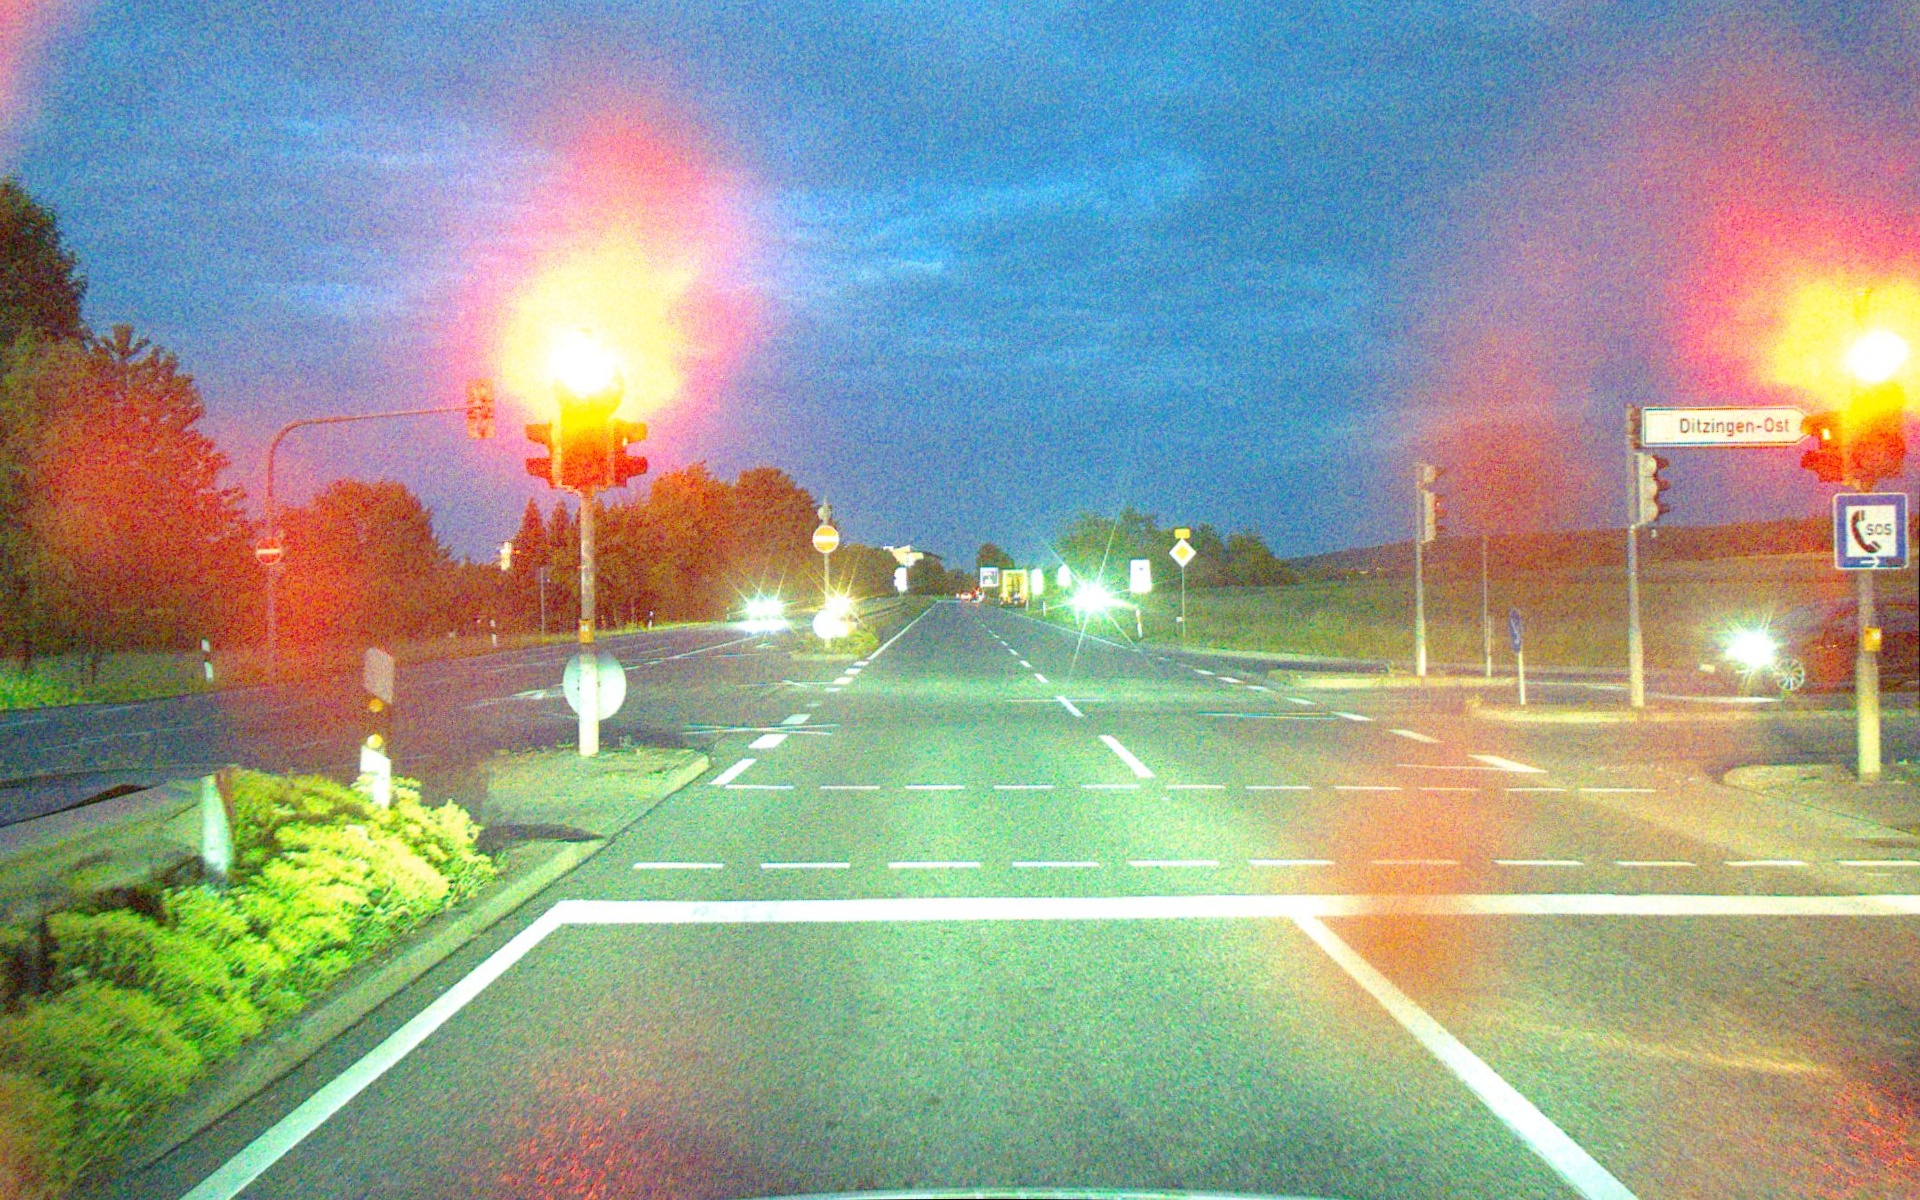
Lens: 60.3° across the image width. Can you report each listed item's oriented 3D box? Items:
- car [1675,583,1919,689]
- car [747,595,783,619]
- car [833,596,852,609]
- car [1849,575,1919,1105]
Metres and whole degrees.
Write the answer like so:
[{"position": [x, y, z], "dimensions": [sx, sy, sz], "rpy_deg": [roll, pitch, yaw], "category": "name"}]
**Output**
[{"position": [14.241, 0.541, 26.725], "dimensions": [4.507, 1.547, 2.000], "rpy_deg": [-2, 0, 0], "category": "car"}, {"position": [-13.277, 0.485, 112.861], "dimensions": [1.953, 1.545, 4.297], "rpy_deg": [-1, 0, -1], "category": "car"}, {"position": [-13.547, 0.299, 191.065], "dimensions": [1.953, 1.411, 3.999], "rpy_deg": [-1, 0, -1], "category": "car"}, {"position": [3.606, 0.711, 3.170], "dimensions": [1.636, 1.547, 4.106], "rpy_deg": [0, 0, 1], "category": "car"}]
